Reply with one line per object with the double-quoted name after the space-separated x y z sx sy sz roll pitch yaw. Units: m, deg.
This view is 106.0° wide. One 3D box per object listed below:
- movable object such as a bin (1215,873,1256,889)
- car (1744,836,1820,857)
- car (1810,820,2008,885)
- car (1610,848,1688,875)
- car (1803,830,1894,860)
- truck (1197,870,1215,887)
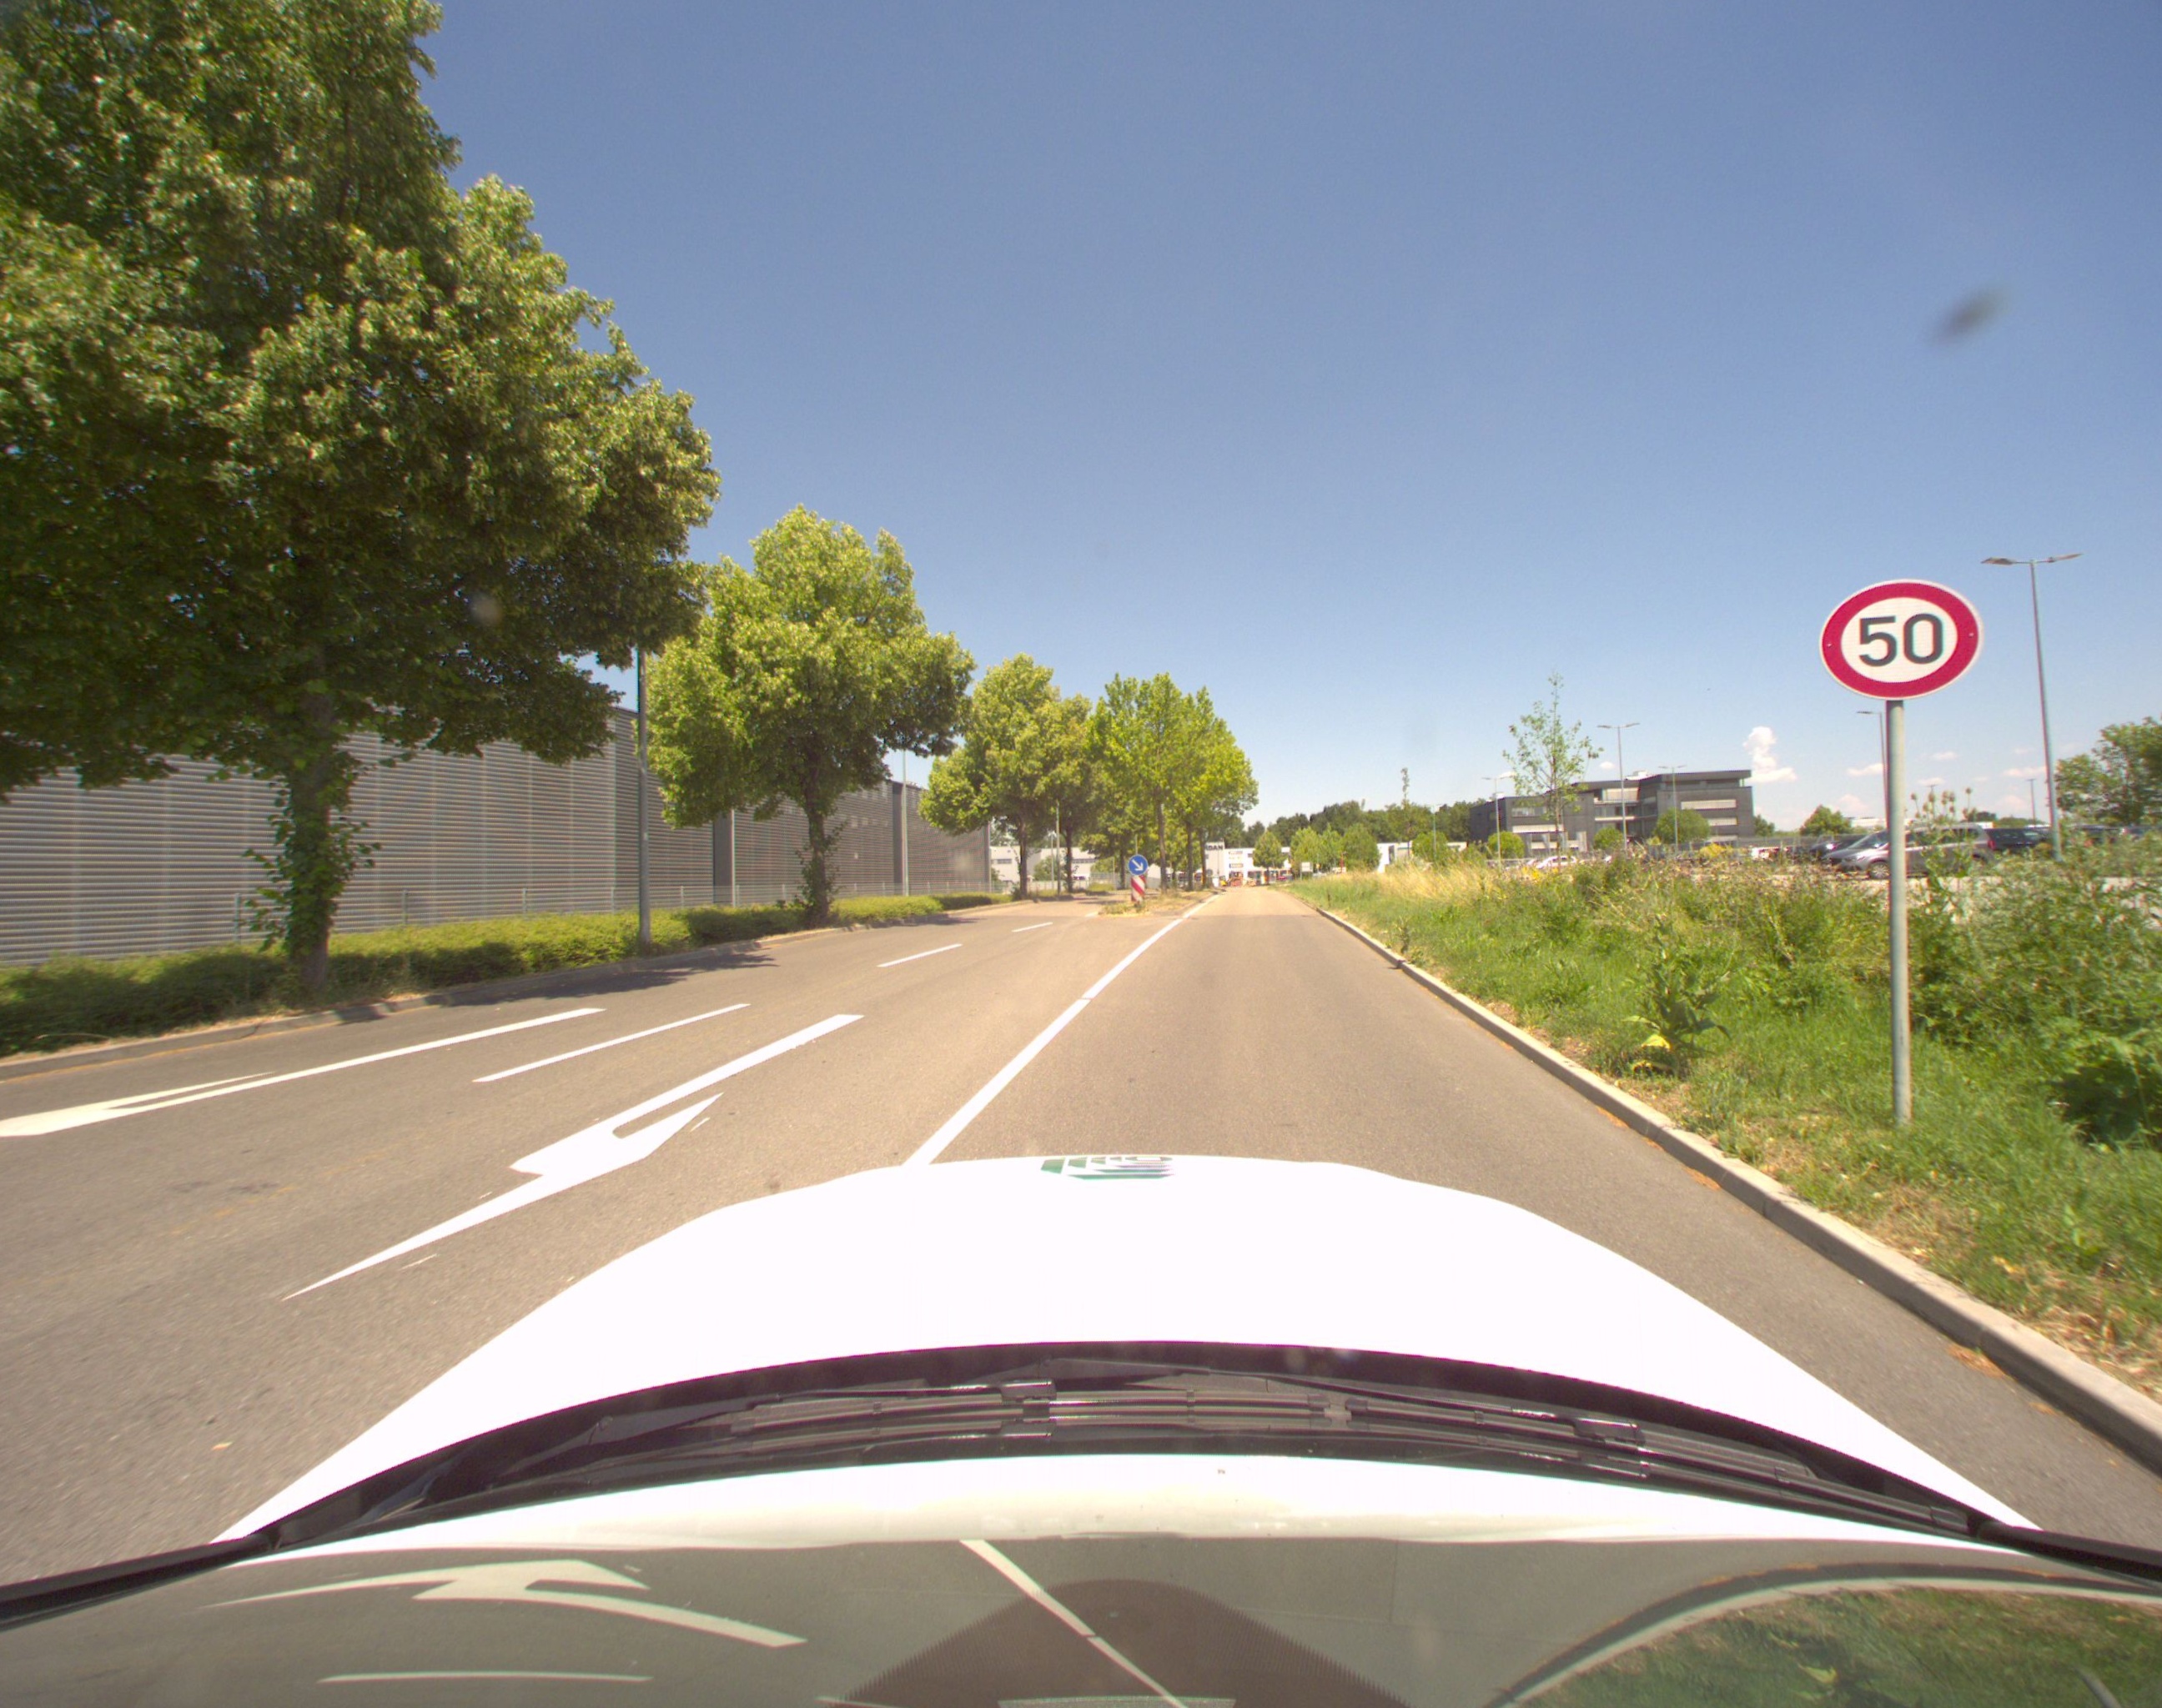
31.016 5.405 163.790 7.464 2.500 3.684 -4 1 19 "movable object such as a bin"
52.161 -0.541 60.684 3.966 1.341 1.699 -3 -3 6 "car"
28.545 -0.028 28.218 4.435 1.915 1.945 -4 -1 9 "car"
39.506 0.555 56.738 3.961 1.641 1.933 -3 -3 11 "car"
49.187 -0.559 52.233 3.975 1.640 1.999 -4 0 -1 "car"
25.179 4.891 164.495 2.926 2.886 5.814 -4 1 3 "truck"
